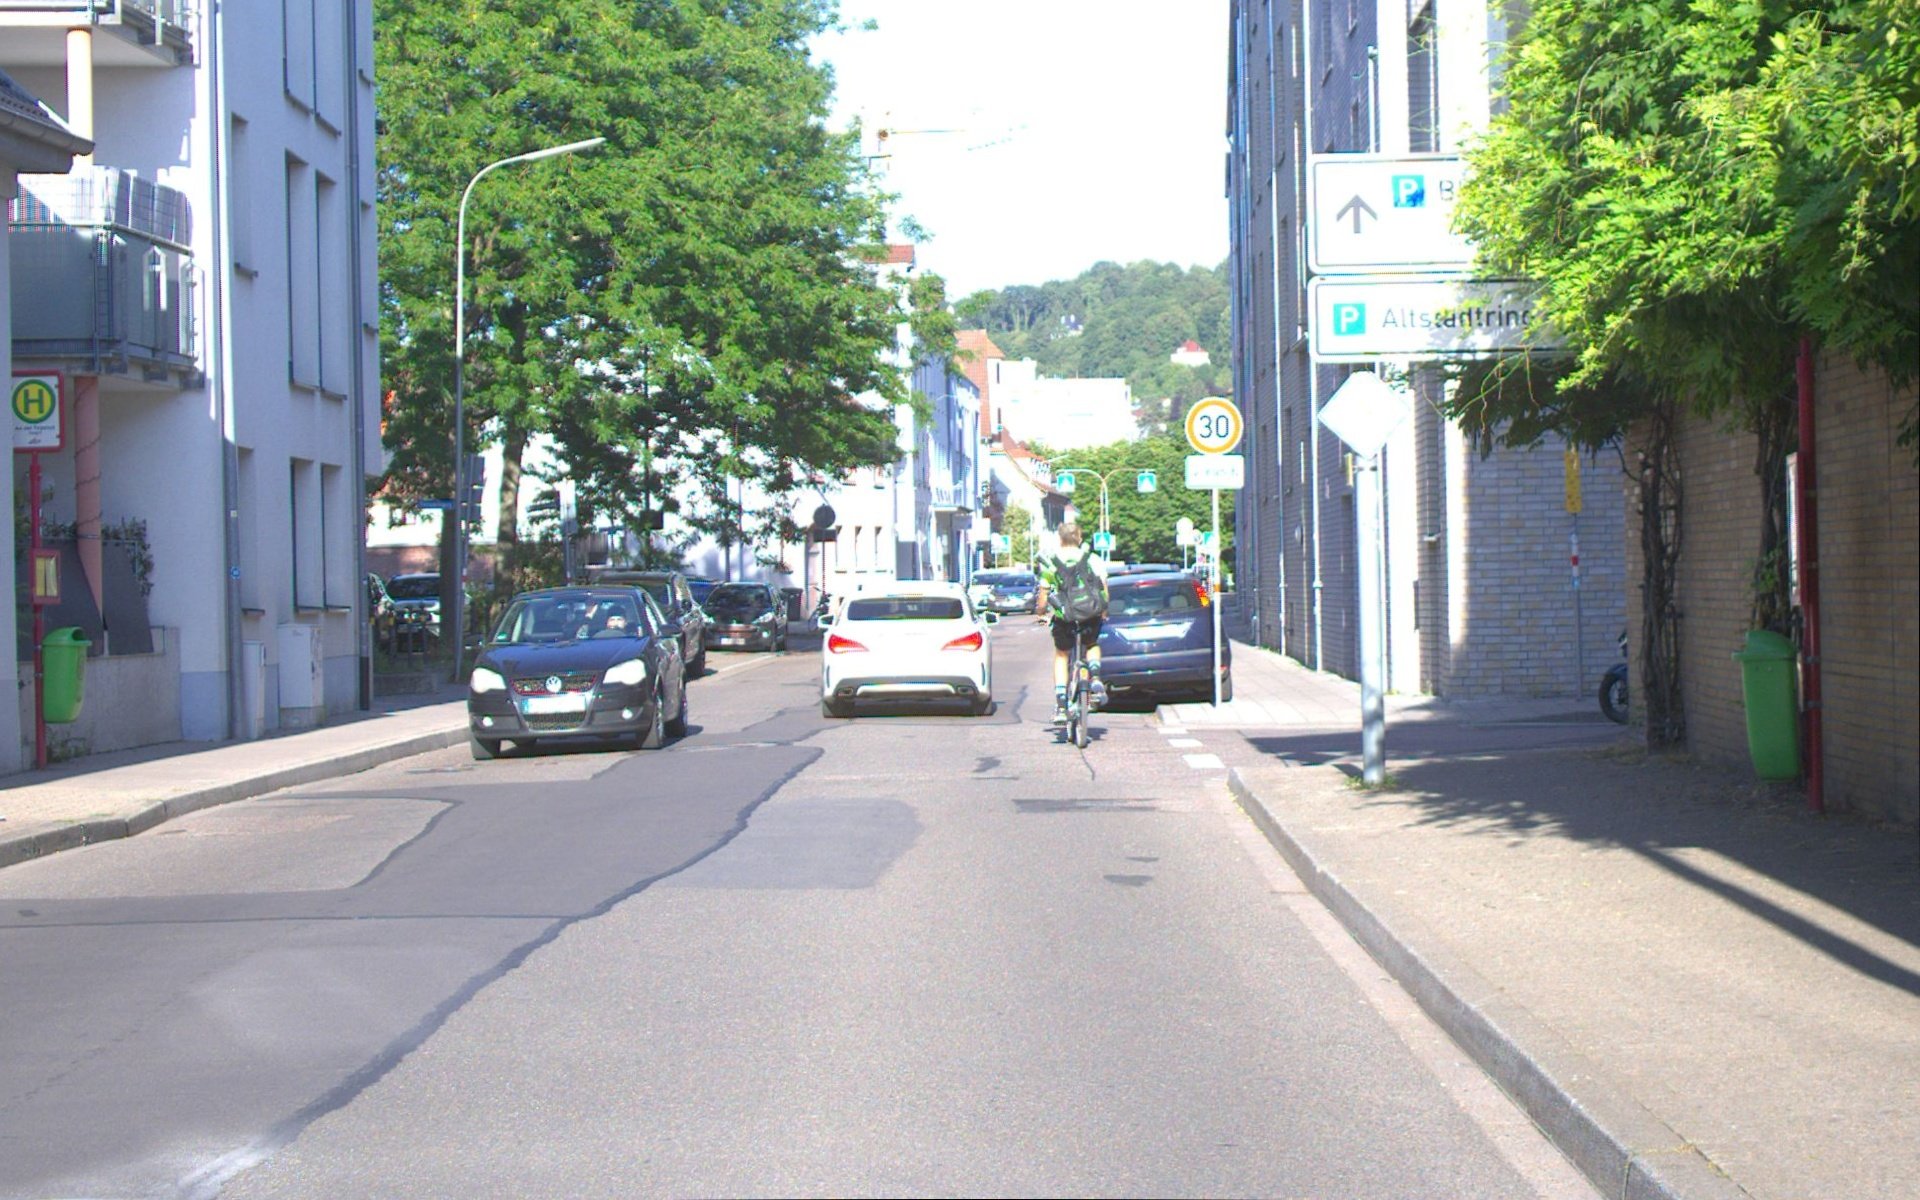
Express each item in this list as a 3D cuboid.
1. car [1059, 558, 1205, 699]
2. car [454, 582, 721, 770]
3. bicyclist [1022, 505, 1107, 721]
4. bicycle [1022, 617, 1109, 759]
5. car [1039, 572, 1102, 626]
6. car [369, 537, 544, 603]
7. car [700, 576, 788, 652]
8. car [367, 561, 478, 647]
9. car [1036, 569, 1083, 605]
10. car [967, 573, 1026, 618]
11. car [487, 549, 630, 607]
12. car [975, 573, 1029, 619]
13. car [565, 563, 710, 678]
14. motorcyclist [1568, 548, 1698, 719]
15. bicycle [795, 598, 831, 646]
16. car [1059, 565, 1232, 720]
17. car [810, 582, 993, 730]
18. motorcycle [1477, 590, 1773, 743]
[{"bbox_3d":[2.137,0.323,43.601,1.664,1.696,3.914,0,1,0],"label":"car"},{"bbox_3d":[-3.261,0.631,30.842,1.842,1.486,4.144,-3,0,0],"label":"car"},{"bbox_3d":[0.875,0.104,28.898,0.698,1.784,1.040,0,0,1],"label":"bicyclist"},{"bbox_3d":[0.873,0.721,29.019,0.698,1.126,2.403,0,0,1],"label":"bicycle"},{"bbox_3d":[3.755,-0.053,117.664,1.853,1.785,4.608,0,1,-2],"label":"car"},{"bbox_3d":[-12.181,-0.737,83.327,3.902,1.570,1.709,0,1,5],"label":"car"},{"bbox_3d":[-4.676,0.276,74.767,1.704,1.570,3.914,0,1,0],"label":"car"},{"bbox_3d":[-11.399,0.060,73.098,1.790,1.684,3.965,2,1,-2],"label":"car"},{"bbox_3d":[4.862,-0.639,167.351,1.945,1.581,4.620,-3,0,5],"label":"car"},{"bbox_3d":[1.399,-0.191,130.898,1.945,1.581,4.621,-3,0,3],"label":"car"},{"bbox_3d":[-11.145,-0.622,95.395,3.900,1.570,1.710,0,1,-7],"label":"car"},{"bbox_3d":[1.486,-0.145,120.780,1.664,1.570,3.913,0,1,4],"label":"car"},{"bbox_3d":[-5.232,0.303,56.297,1.853,1.785,4.607,0,1,1],"label":"car"},{"bbox_3d":[5.867,0.284,29.956,0.878,1.468,0.894,0,0,29],"label":"motorcyclist"},{"bbox_3d":[-3.829,0.564,89.925,0.835,1.213,2.842,0,1,0],"label":"bicycle"},{"bbox_3d":[2.058,0.441,39.072,1.629,1.581,4.069,-3,0,-1],"label":"car"},{"bbox_3d":[-0.630,0.559,36.683,1.842,1.486,4.144,0,0,-1],"label":"car"},{"bbox_3d":[5.789,0.583,29.988,2.338,1.276,0.894,-2,-1,29],"label":"motorcycle"}]
